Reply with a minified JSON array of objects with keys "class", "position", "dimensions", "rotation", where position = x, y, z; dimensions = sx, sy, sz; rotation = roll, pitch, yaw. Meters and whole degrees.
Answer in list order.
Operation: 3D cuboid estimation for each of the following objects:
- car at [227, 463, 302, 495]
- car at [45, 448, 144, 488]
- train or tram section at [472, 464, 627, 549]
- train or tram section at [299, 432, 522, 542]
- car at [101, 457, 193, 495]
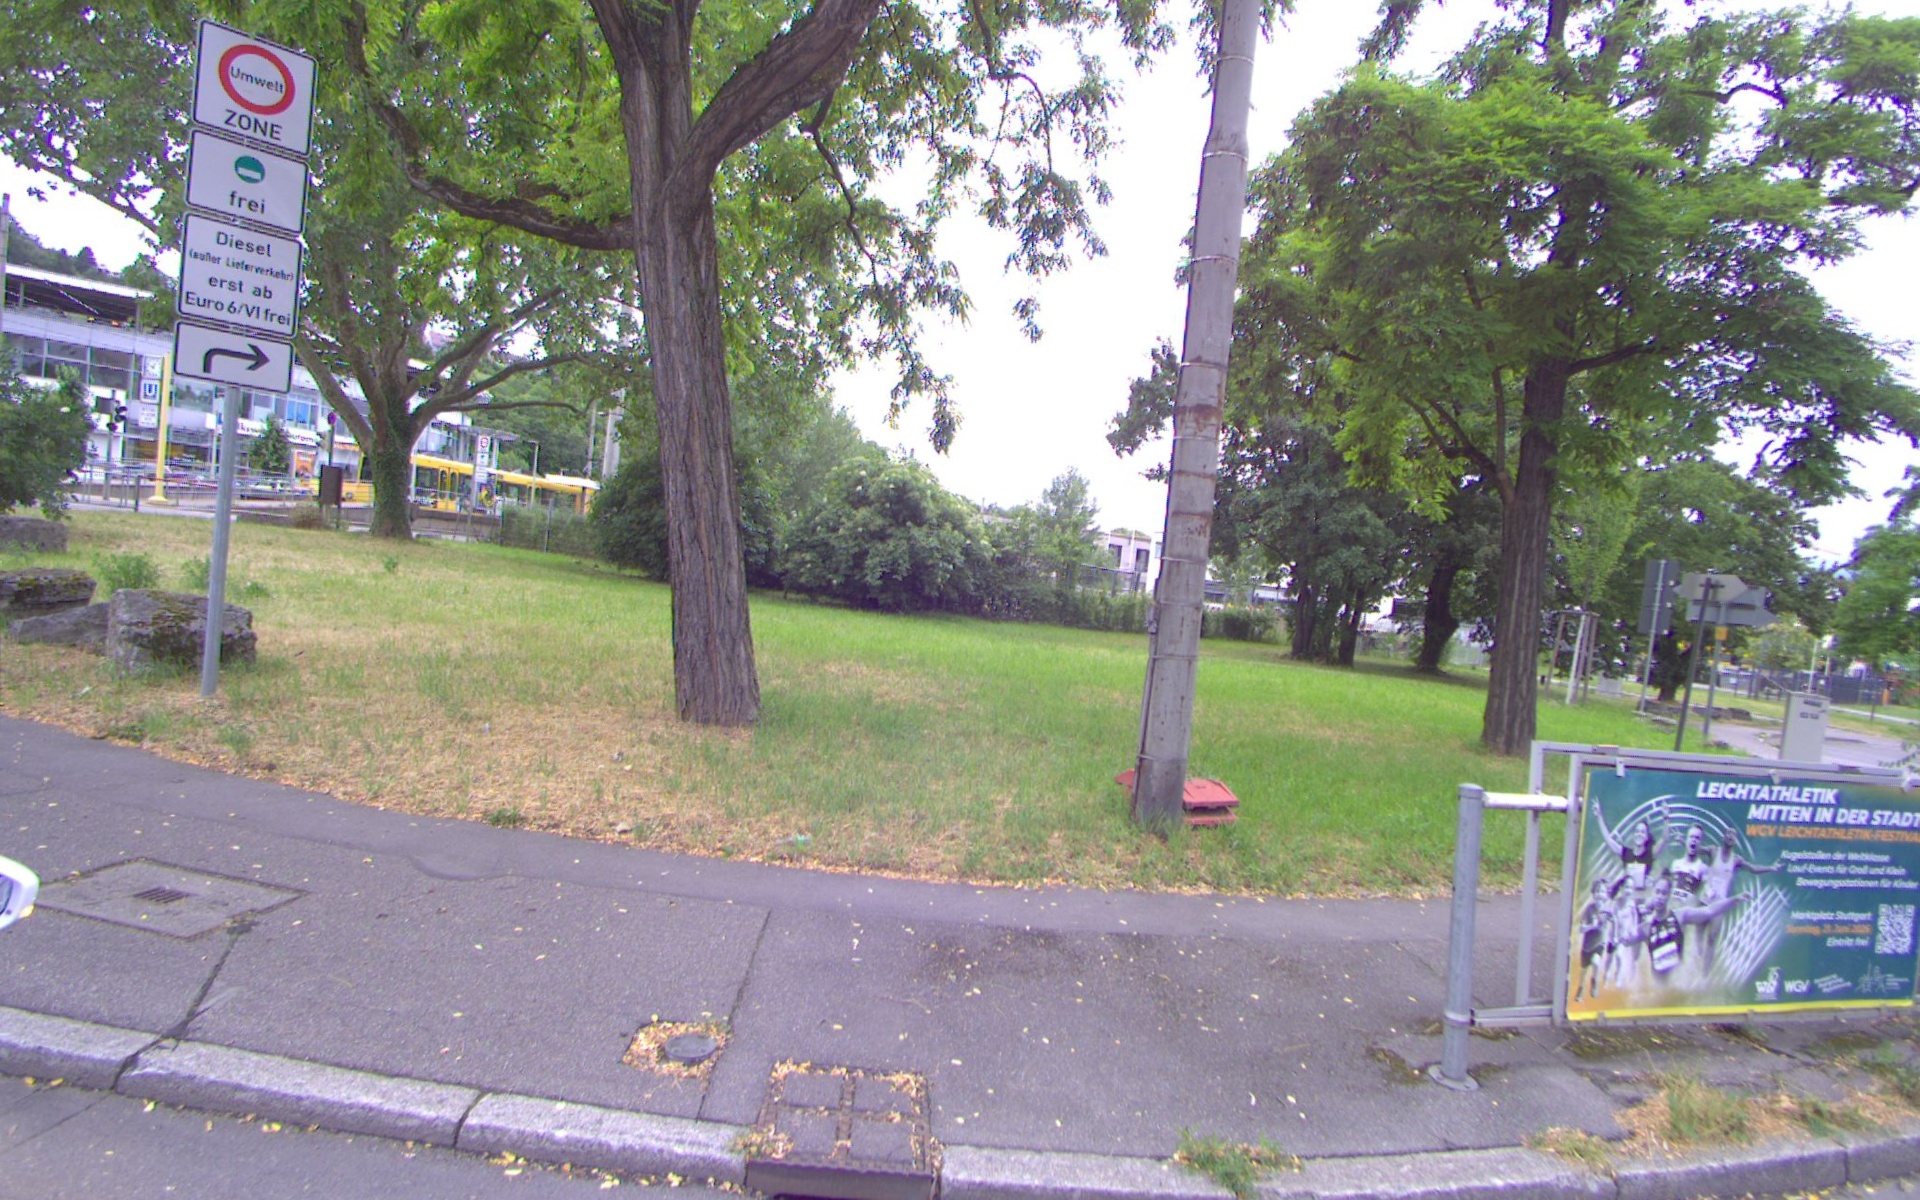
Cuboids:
[{"class":"car","position":[-46.234,-8.058,66.876],"dimensions":[3.924,1.575,1.926],"rotation":[7,3,13]},{"class":"car","position":[-48.394,-7.385,56.290],"dimensions":[3.924,1.575,1.926],"rotation":[7,3,5]},{"class":"train or tram section","position":[-24.659,-5.471,61.503],"dimensions":[2.697,4.019,11.904],"rotation":[7,2,9]},{"class":"train or tram section","position":[-26.520,-5.262,49.715],"dimensions":[2.697,4.019,11.904],"rotation":[7,2,9]},{"class":"car","position":[-47.920,-7.314,59.329],"dimensions":[3.924,1.575,1.926],"rotation":[7,3,5]}]
